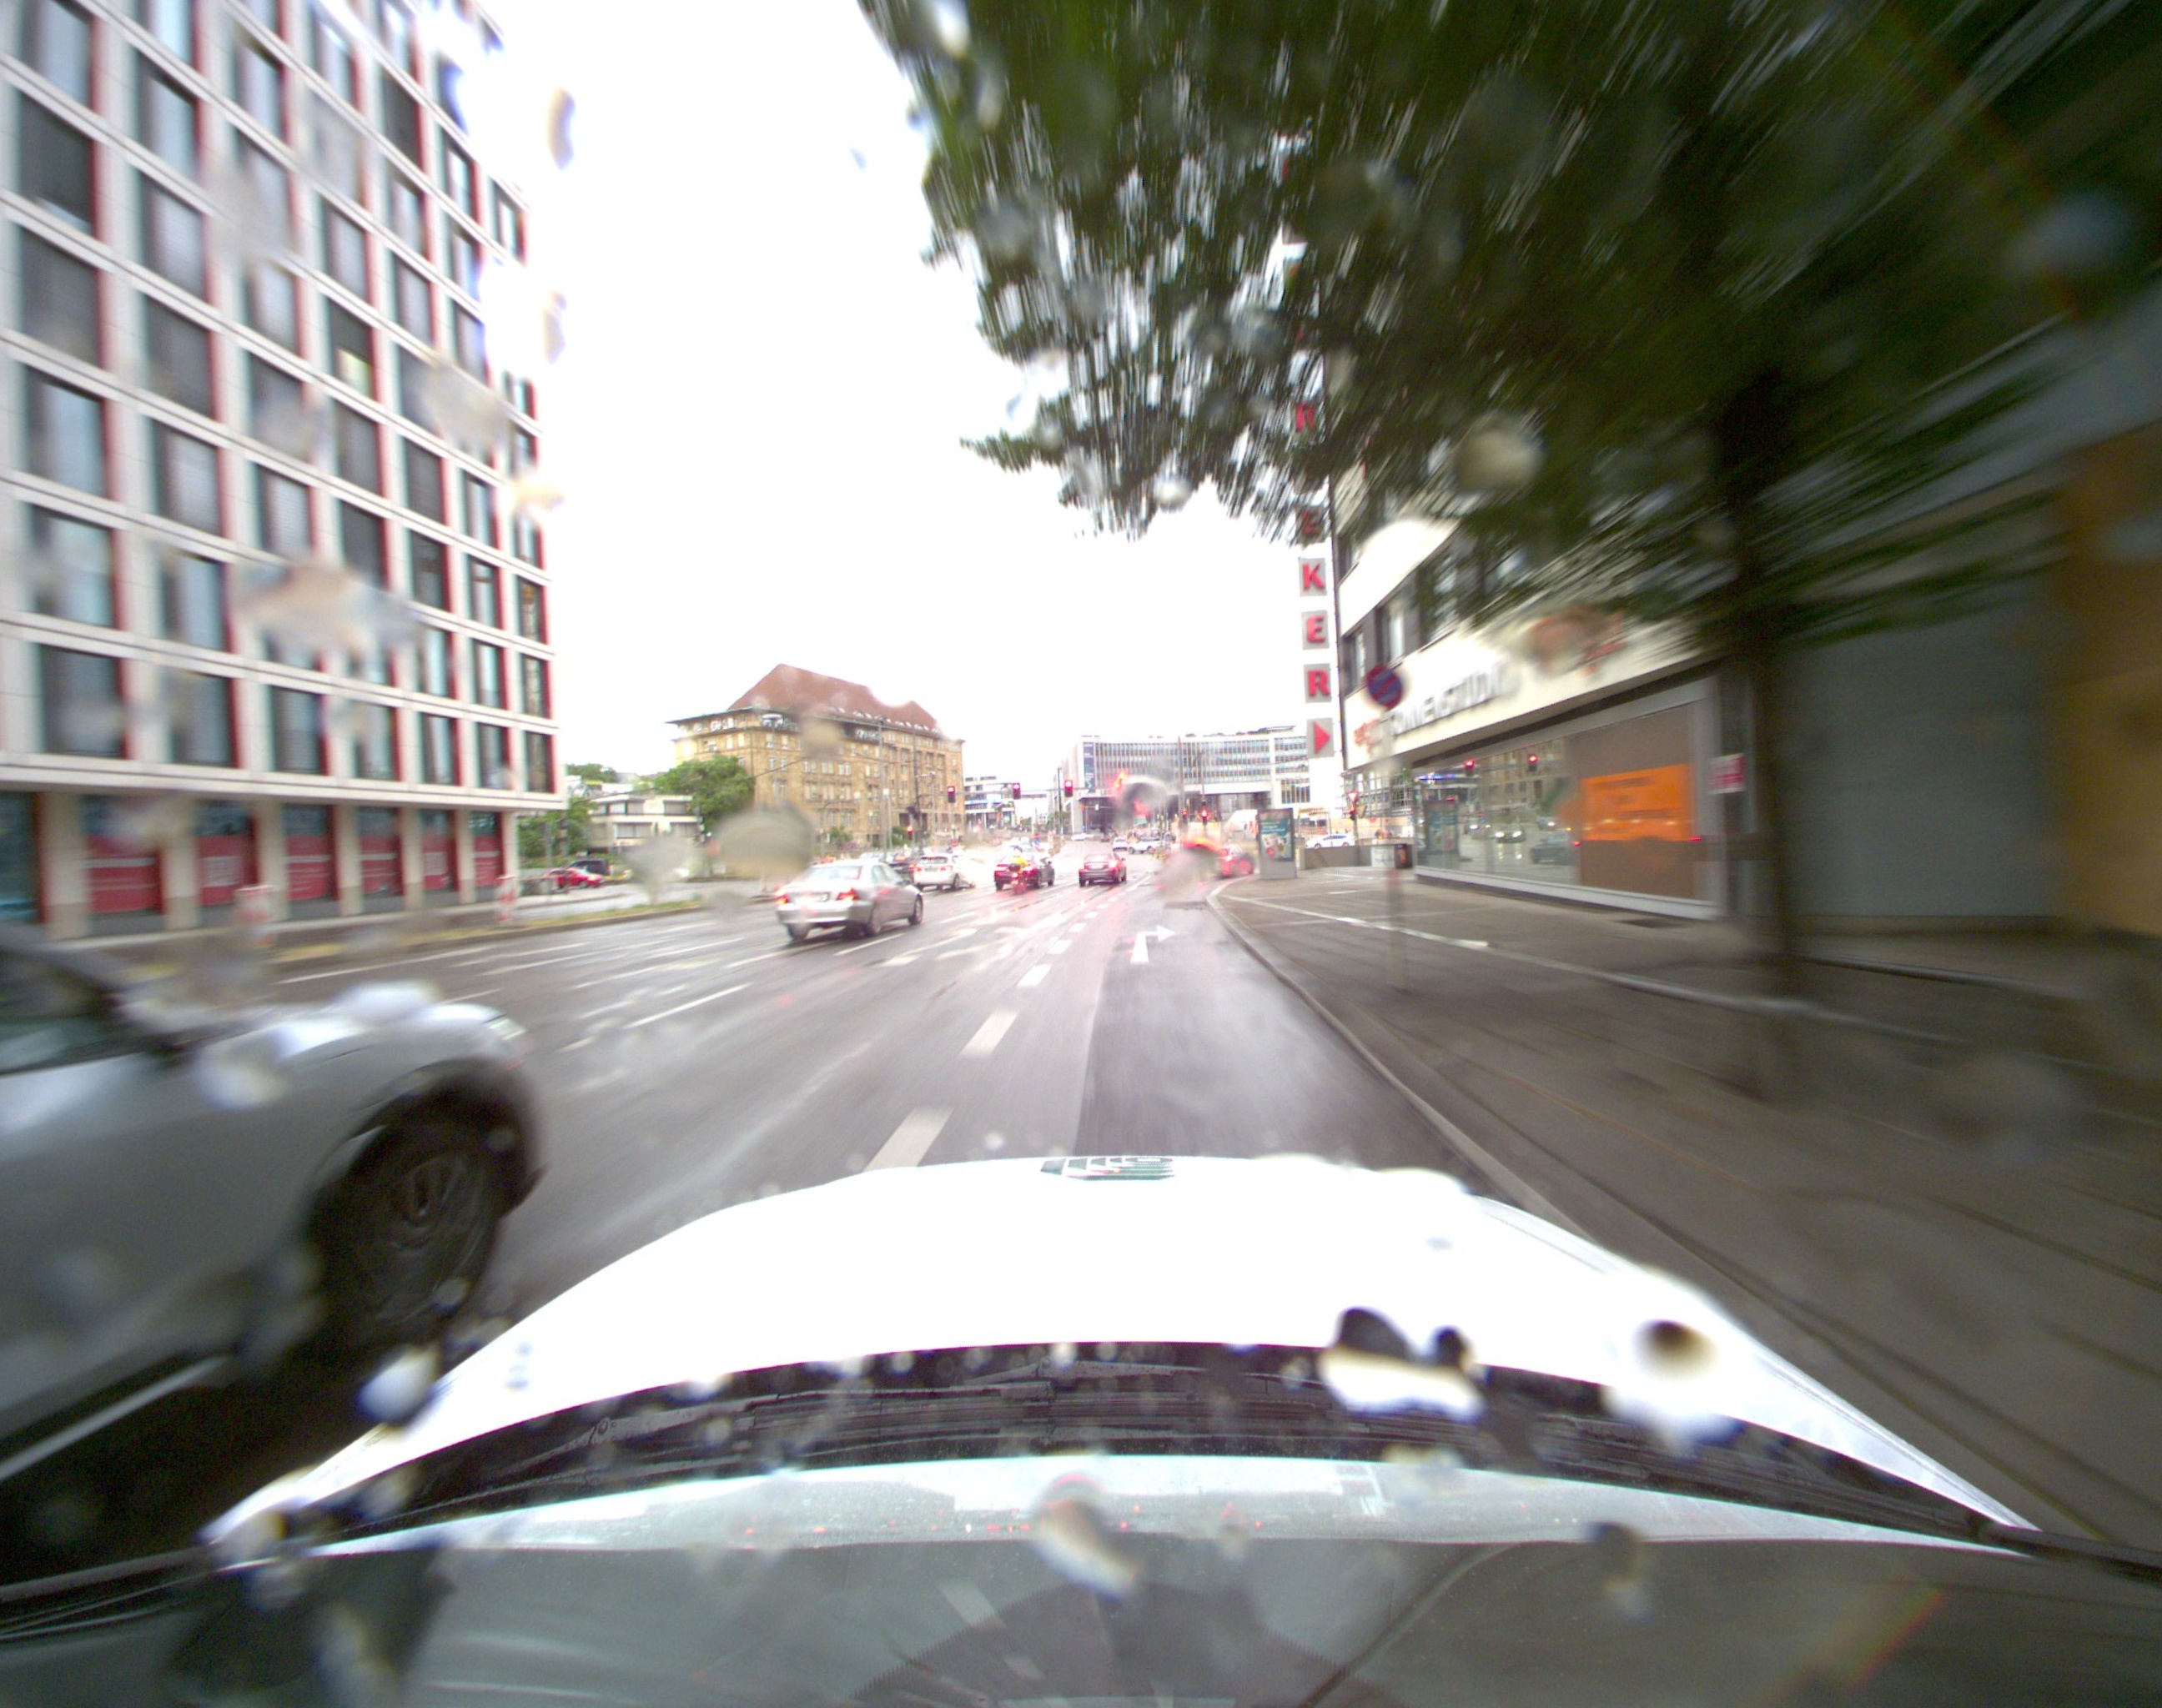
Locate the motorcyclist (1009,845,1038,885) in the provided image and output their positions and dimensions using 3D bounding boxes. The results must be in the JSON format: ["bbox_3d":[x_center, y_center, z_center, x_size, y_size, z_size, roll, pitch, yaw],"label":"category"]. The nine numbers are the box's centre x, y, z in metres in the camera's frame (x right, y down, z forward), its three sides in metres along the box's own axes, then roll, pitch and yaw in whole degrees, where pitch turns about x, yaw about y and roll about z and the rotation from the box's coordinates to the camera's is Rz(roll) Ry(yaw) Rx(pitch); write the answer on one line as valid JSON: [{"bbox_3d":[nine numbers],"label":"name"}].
[{"bbox_3d":[-2.212,0.425,31.432,0.937,1.475,1.101,-2,0,3],"label":"motorcyclist"}]

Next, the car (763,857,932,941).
[{"bbox_3d":[-4.556,0.816,16.655,1.724,1.403,4.391,-2,0,6],"label":"car"}]

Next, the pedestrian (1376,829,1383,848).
[{"bbox_3d":[31.323,-1.621,85.446,0.572,1.898,0.363,-2,0,4],"label":"pedestrian"}]

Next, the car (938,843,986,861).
[{"bbox_3d":[-10.781,-0.194,73.975,4.059,1.506,2.013,-2,0,37],"label":"car"}]

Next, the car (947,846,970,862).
[{"bbox_3d":[-12.928,-0.057,86.048,1.815,1.485,4.000,-3,2,0],"label":"car"}]

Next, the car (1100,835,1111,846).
[{"bbox_3d":[4.883,-2.702,162.027,1.988,2.013,3.998,-2,0,-1],"label":"car"}]

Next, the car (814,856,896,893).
[{"bbox_3d":[-9.442,0.819,34.334,1.773,1.373,4.003,-2,0,9],"label":"car"}]

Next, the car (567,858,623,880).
[{"bbox_3d":[-46.787,1.438,78.537,4.222,2.013,1.988,-2,0,-17],"label":"car"}]

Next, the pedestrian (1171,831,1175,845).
[{"bbox_3d":[12.591,-2.222,111.138,0.361,1.898,0.574,-2,0,-11],"label":"pedestrian"}]

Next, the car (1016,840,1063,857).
[{"bbox_3d":[-3.710,-0.486,72.314,2.012,1.345,4.061,-2,0,-44],"label":"car"}]

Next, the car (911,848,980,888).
[{"bbox_3d":[-5.878,0.566,35.800,1.722,1.616,4.012,-2,0,10],"label":"car"}]

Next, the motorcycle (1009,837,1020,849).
[{"bbox_3d":[-6.626,-1.118,80.790,0.848,1.108,2.136,-2,0,-10],"label":"motorcycle"}]

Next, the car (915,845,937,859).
[{"bbox_3d":[-17.830,-0.240,93.700,1.692,1.574,4.000,-2,0,0],"label":"car"}]

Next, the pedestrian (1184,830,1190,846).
[{"bbox_3d":[12.843,-1.909,98.346,0.363,1.898,0.570,-2,0,-32],"label":"pedestrian"}]

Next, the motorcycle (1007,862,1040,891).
[{"bbox_3d":[-2.209,0.851,31.421,0.938,0.989,2.296,-2,1,4],"label":"motorcycle"}]

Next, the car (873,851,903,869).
[{"bbox_3d":[-18.506,0.530,78.086,1.691,1.519,3.877,-4,1,2],"label":"car"}]

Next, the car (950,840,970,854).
[{"bbox_3d":[-14.323,-0.776,96.697,1.692,1.574,4.000,-2,0,0],"label":"car"}]

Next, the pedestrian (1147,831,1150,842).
[{"bbox_3d":[11.870,-3.147,143.866,0.360,1.898,0.576,-2,0,-3],"label":"pedestrian"}]

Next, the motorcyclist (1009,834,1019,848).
[{"bbox_3d":[-6.638,-1.283,80.771,0.847,1.358,0.945,-2,0,-10],"label":"motorcyclist"}]

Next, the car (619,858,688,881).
[{"bbox_3d":[-33.242,1.197,63.446,4.388,1.662,1.990,-2,0,-15],"label":"car"}]

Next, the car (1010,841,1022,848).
[{"bbox_3d":[-12.432,-1.795,155.167,1.760,1.260,4.197,-2,0,2],"label":"car"}]

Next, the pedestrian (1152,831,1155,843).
[{"bbox_3d":[11.579,-2.686,130.672,0.360,1.898,0.576,-2,0,-3],"label":"pedestrian"}]

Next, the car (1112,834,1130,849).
[{"bbox_3d":[5.047,-1.580,103.268,1.726,1.639,3.427,-2,3,-7],"label":"car"}]

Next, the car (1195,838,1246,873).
[{"bbox_3d":[6.722,0.033,39.001,1.876,1.544,4.011,-2,0,17],"label":"car"}]

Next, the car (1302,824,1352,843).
[{"bbox_3d":[24.089,-2.001,79.843,4.379,1.766,2.005,-2,0,8],"label":"car"}]

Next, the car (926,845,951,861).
[{"bbox_3d":[-15.217,-0.115,87.148,1.796,1.574,4.074,-2,0,0],"label":"car"}]

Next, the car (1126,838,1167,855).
[{"bbox_3d":[6.951,-0.791,86.982,3.949,1.640,2.012,-2,0,43],"label":"car"}]

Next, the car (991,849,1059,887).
[{"bbox_3d":[-2.378,0.552,35.849,1.876,1.514,5.015,-2,0,9],"label":"car"}]

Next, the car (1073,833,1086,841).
[{"bbox_3d":[-0.451,-4.000,194.109,1.999,1.816,3.976,-2,0,-18],"label":"car"}]

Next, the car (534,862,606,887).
[{"bbox_3d":[-35.809,1.420,57.107,3.973,1.596,1.676,-2,0,1],"label":"car"}]

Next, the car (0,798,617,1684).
[{"bbox_3d":[-2.950,0.750,1.384,1.801,1.661,4.172,-2,0,1],"label":"car"}]

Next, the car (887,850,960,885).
[{"bbox_3d":[-7.751,0.650,40.522,1.769,1.599,4.092,-2,0,18],"label":"car"}]

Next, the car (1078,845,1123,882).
[{"bbox_3d":[0.954,0.392,37.237,1.775,1.402,4.493,-2,2,5],"label":"car"}]
